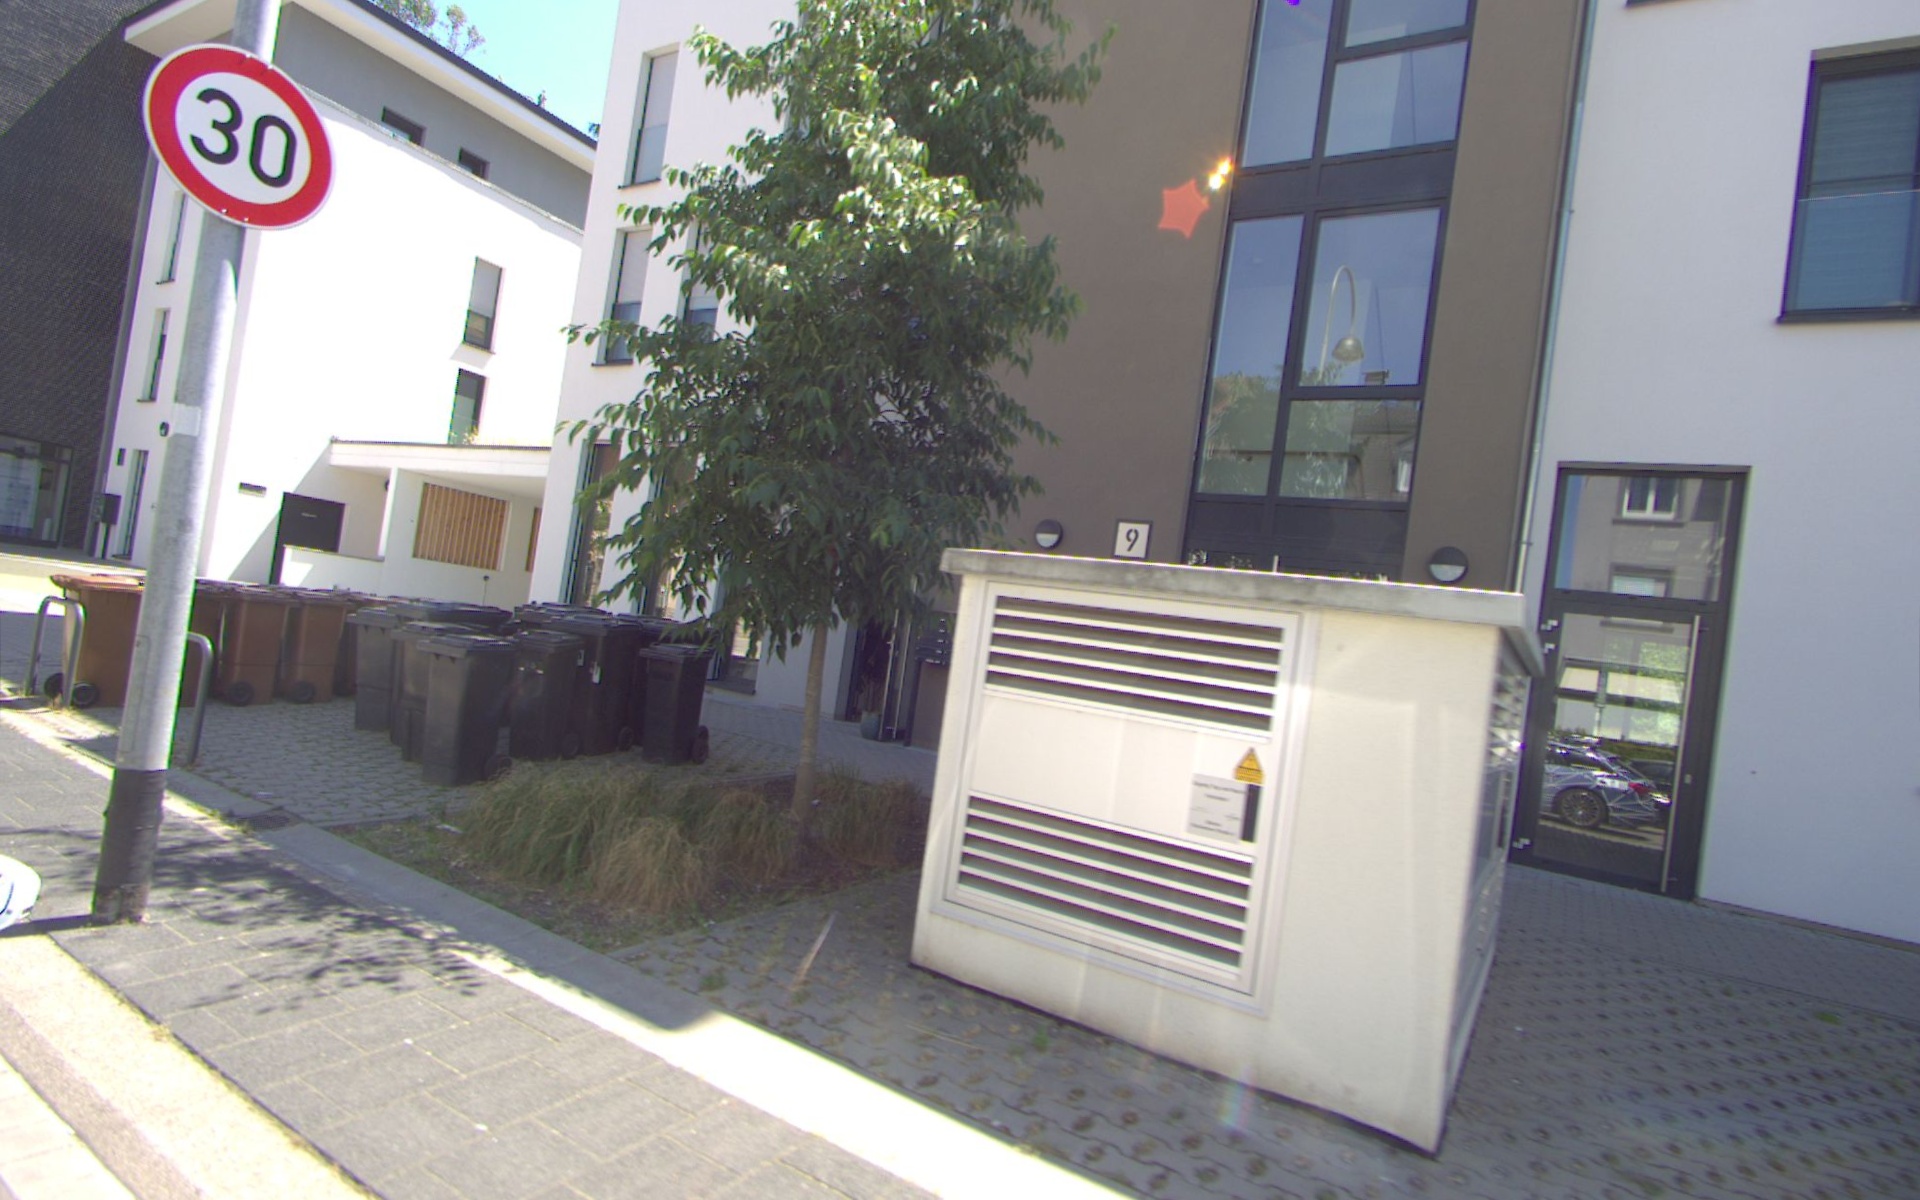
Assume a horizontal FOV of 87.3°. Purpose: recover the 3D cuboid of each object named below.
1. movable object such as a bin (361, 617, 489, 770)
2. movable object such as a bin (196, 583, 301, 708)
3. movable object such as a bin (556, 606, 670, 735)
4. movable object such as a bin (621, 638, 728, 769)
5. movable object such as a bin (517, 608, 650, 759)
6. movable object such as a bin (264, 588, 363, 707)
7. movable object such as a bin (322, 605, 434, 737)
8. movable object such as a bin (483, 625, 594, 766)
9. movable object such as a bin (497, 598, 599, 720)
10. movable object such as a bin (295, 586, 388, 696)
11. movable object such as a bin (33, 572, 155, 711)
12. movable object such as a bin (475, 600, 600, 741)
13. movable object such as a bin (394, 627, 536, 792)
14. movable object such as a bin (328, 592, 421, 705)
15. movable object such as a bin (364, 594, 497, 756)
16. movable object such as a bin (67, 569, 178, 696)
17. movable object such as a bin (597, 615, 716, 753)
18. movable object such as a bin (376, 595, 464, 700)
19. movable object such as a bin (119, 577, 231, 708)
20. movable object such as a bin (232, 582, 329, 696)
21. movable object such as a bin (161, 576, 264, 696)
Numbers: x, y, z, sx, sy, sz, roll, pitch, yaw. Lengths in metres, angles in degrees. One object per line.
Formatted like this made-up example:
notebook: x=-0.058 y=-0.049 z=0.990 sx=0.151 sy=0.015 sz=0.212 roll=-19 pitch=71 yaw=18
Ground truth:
movable object such as a bin: x=-3.625 y=0.619 z=6.826 sx=0.457 sy=0.942 sz=0.513 roll=7 pitch=1 yaw=26
movable object such as a bin: x=-5.840 y=0.376 z=8.266 sx=0.513 sy=0.942 sz=0.465 roll=7 pitch=0 yaw=32
movable object such as a bin: x=-3.172 y=0.642 z=9.221 sx=0.615 sy=1.074 sz=0.646 roll=7 pitch=1 yaw=33
movable object such as a bin: x=-2.250 y=0.807 z=7.956 sx=0.457 sy=0.942 sz=0.562 roll=7 pitch=1 yaw=26
movable object such as a bin: x=-2.965 y=0.646 z=7.959 sx=0.613 sy=1.074 sz=0.648 roll=7 pitch=1 yaw=20
movable object such as a bin: x=-5.581 y=0.412 z=8.684 sx=0.513 sy=0.942 sz=0.465 roll=7 pitch=0 yaw=32
movable object such as a bin: x=-4.472 y=0.537 z=7.749 sx=0.429 sy=0.935 sz=0.517 roll=7 pitch=1 yaw=10
movable object such as a bin: x=-3.102 y=0.692 z=7.418 sx=0.459 sy=0.942 sz=0.485 roll=7 pitch=1 yaw=26
movable object such as a bin: x=-3.880 y=0.547 z=9.492 sx=0.550 sy=1.054 sz=0.571 roll=7 pitch=1 yaw=18
movable object such as a bin: x=-5.774 y=0.386 z=9.396 sx=0.519 sy=0.942 sz=0.474 roll=7 pitch=0 yaw=32
movable object such as a bin: x=-6.355 y=0.306 z=7.386 sx=0.519 sy=0.942 sz=0.474 roll=7 pitch=0 yaw=32
movable object such as a bin: x=-3.566 y=0.589 z=8.507 sx=0.615 sy=1.074 sz=0.646 roll=7 pitch=1 yaw=33
movable object such as a bin: x=-3.129 y=0.677 z=6.378 sx=0.457 sy=0.942 sz=0.562 roll=7 pitch=1 yaw=26
movable object such as a bin: x=-5.312 y=0.444 z=9.131 sx=0.513 sy=0.942 sz=0.465 roll=7 pitch=0 yaw=32
movable object such as a bin: x=-3.861 y=0.538 z=7.347 sx=0.551 sy=1.074 sz=0.569 roll=7 pitch=1 yaw=33
movable object such as a bin: x=-6.696 y=0.264 z=8.046 sx=0.519 sy=0.942 sz=0.474 roll=7 pitch=0 yaw=32
movable object such as a bin: x=-2.606 y=0.707 z=8.671 sx=0.613 sy=1.074 sz=0.648 roll=7 pitch=1 yaw=20
movable object such as a bin: x=-5.283 y=0.467 z=9.846 sx=0.519 sy=0.942 sz=0.474 roll=7 pitch=0 yaw=32
movable object such as a bin: x=-6.123 y=0.333 z=7.854 sx=0.519 sy=0.942 sz=0.467 roll=7 pitch=0 yaw=32
movable object such as a bin: x=-6.070 y=0.351 z=8.988 sx=0.519 sy=0.942 sz=0.474 roll=7 pitch=0 yaw=32
movable object such as a bin: x=-6.341 y=0.312 z=8.539 sx=0.519 sy=0.942 sz=0.474 roll=7 pitch=0 yaw=32
